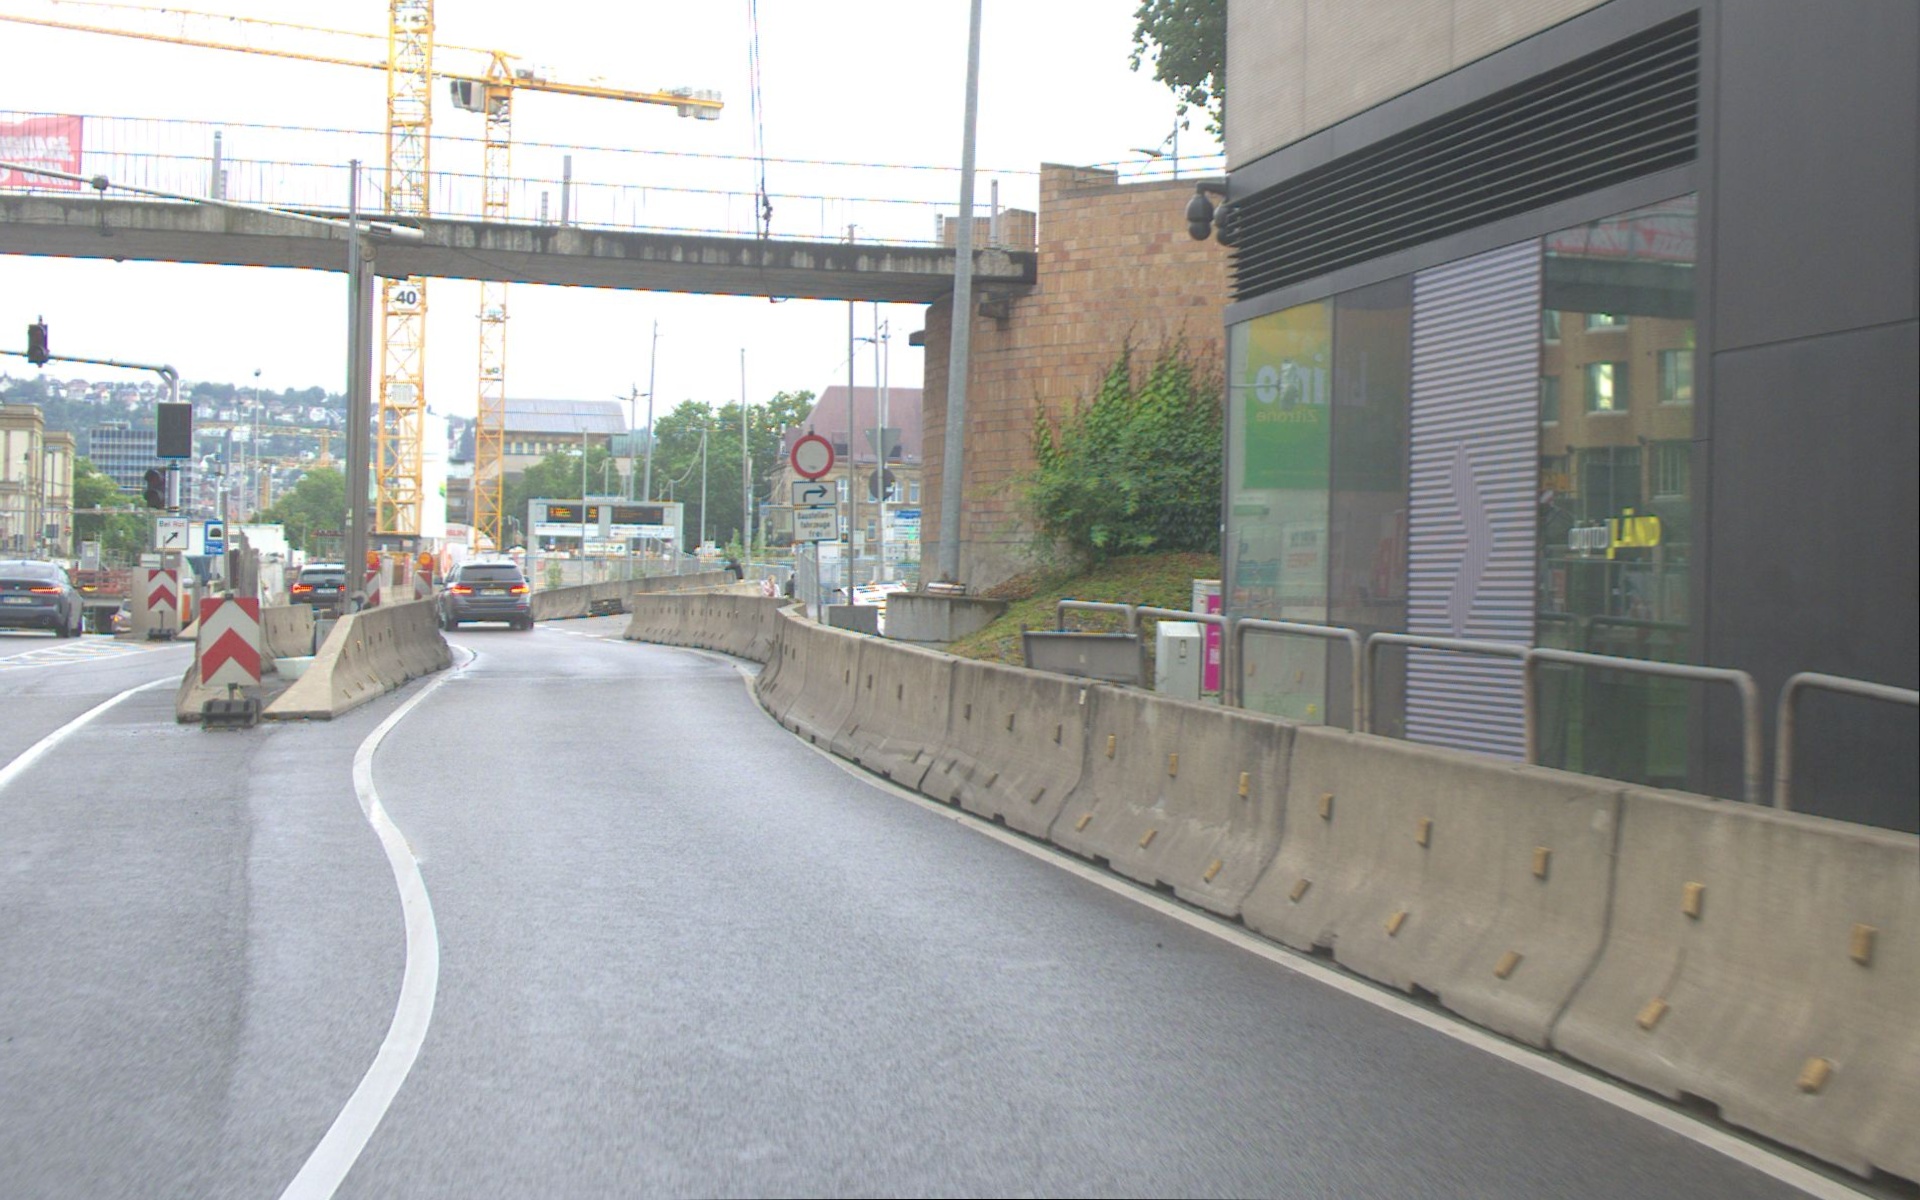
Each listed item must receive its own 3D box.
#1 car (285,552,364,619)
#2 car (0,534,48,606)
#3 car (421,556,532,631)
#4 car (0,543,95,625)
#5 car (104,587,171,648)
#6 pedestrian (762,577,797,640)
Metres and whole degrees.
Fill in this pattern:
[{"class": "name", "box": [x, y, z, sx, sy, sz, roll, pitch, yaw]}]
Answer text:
[{"class": "car", "box": [-16.599, -0.402, 89.957, 1.862, 1.655, 4.657, 1, 1, -9]}, {"class": "car", "box": [-25.943, -0.843, 93.067, 1.805, 1.815, 5.302, 1, 2, -8]}, {"class": "car", "box": [-10.106, -0.163, 71.585, 1.862, 1.428, 4.658, 1, 1, -13]}, {"class": "car", "box": [-17.613, -0.329, 65.066, 1.862, 1.438, 4.657, 1, 1, -7]}, {"class": "car", "box": [-25.772, 0.536, 107.791, 1.862, 1.759, 4.658, 1, 1, -12]}, {"class": "pedestrian", "box": [-5.097, 0.235, 97.214, 0.689, 1.772, 0.815, 0, 0, -29]}]
